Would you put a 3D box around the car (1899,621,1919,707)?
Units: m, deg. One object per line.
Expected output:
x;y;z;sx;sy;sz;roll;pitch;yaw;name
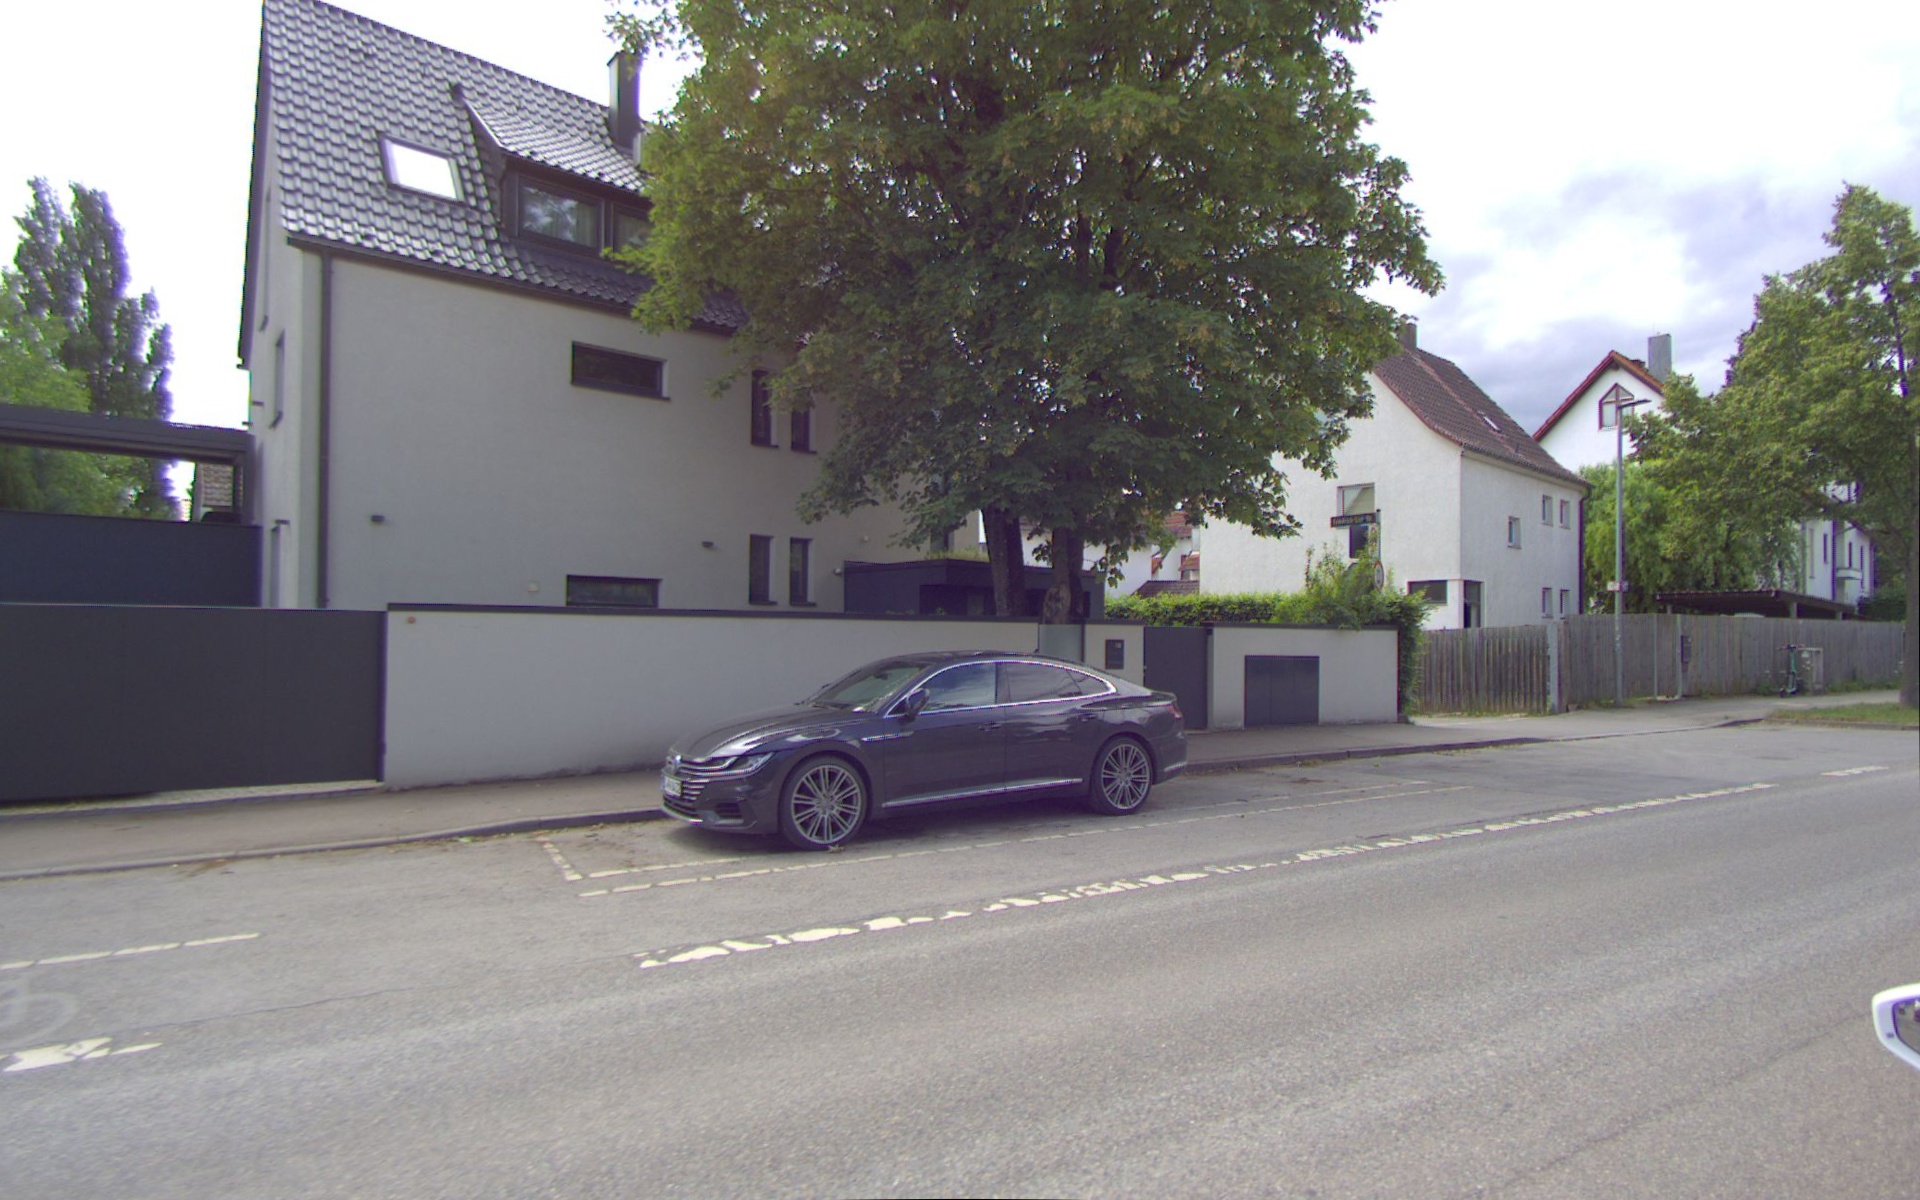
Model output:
24.298;1.465;23.374;5.718;1.921;2.090;1;-3;-31;car

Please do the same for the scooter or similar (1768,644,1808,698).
20.041;1.702;24.305;1.484;1.246;0.385;1;-2;-36;scooter or similar

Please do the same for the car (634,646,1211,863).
-0.185;1.124;8.643;4.747;1.413;1.710;1;-3;-31;car
